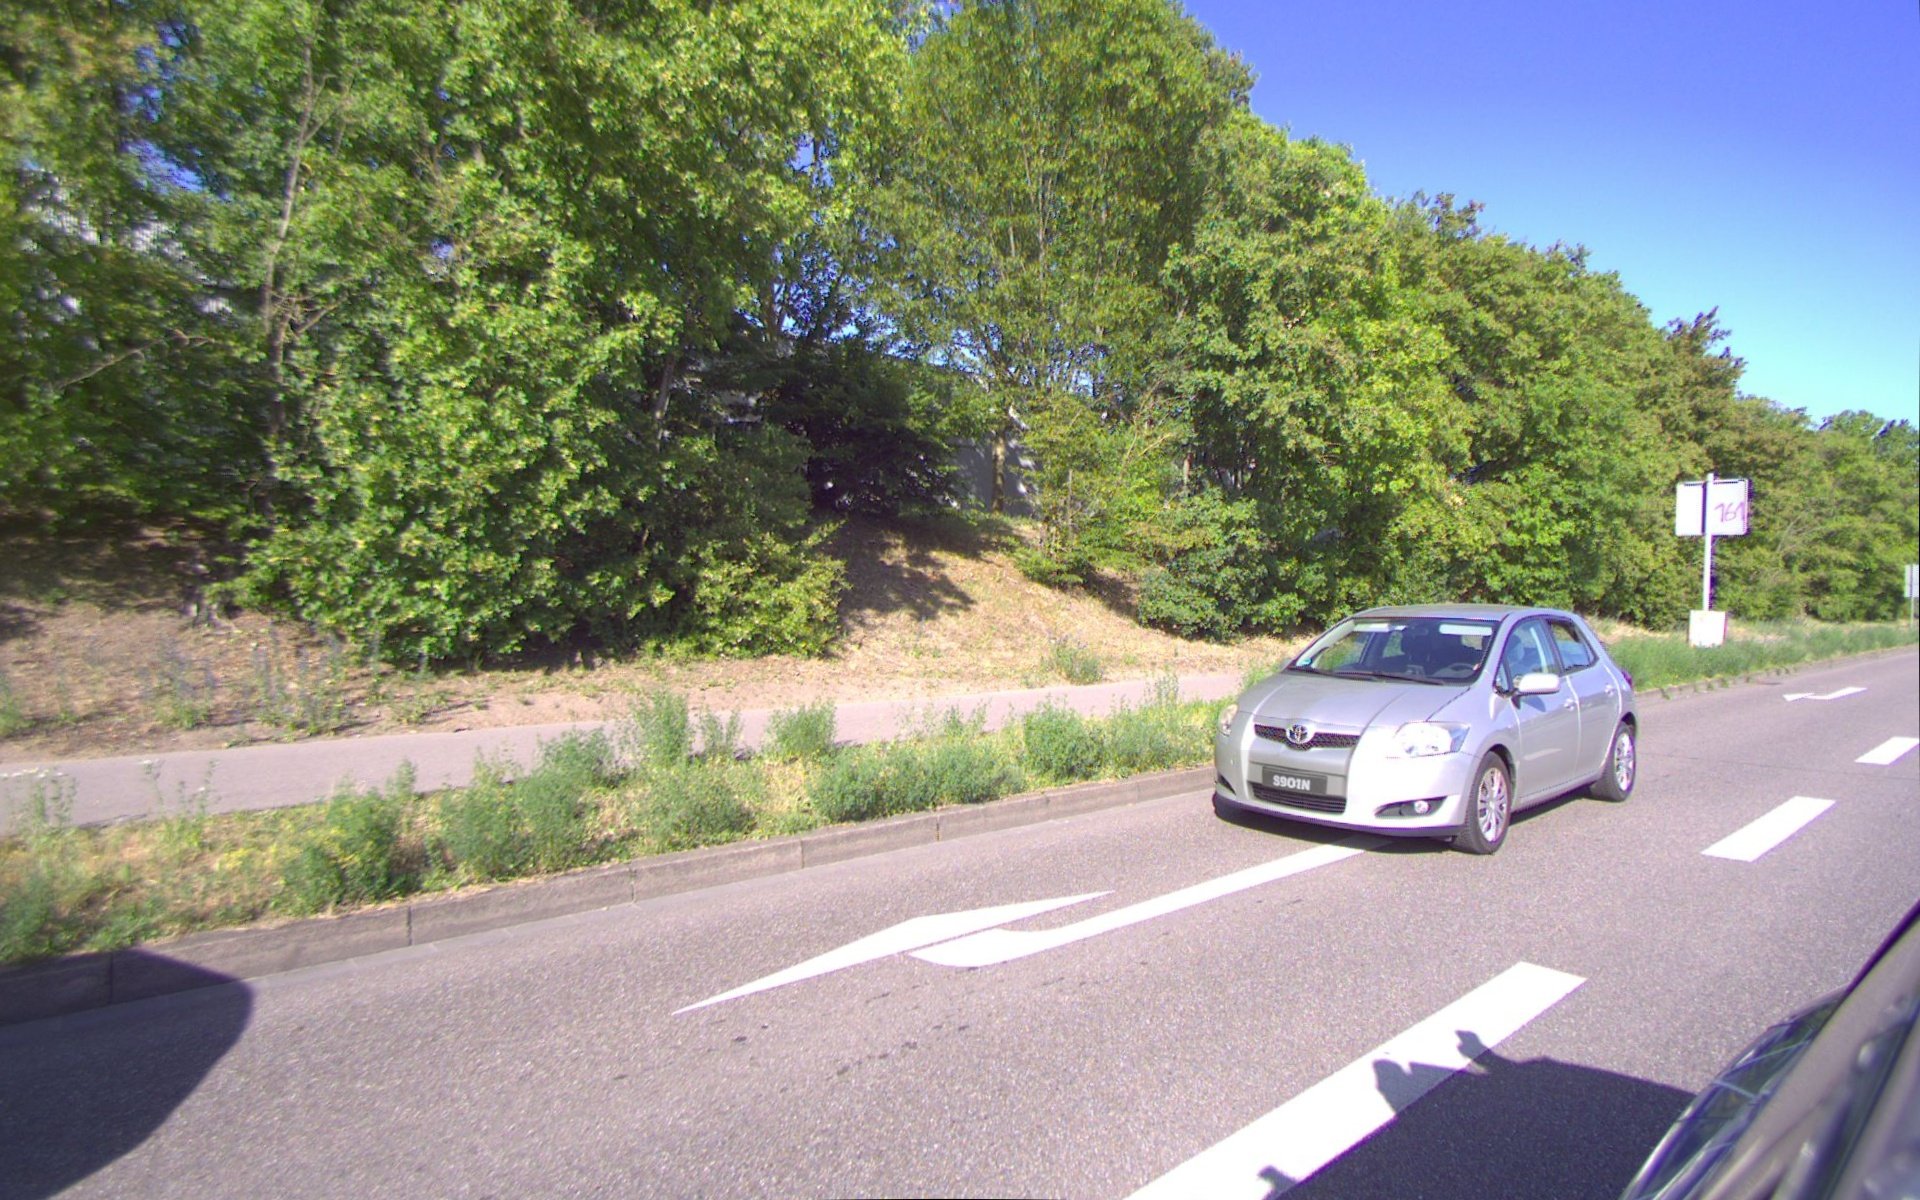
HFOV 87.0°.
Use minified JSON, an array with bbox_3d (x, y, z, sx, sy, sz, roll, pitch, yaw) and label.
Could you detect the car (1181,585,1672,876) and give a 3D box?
[{"bbox_3d":[3.580,0.703,7.432,4.036,1.556,1.786,0,0,-41],"label":"car"}]
